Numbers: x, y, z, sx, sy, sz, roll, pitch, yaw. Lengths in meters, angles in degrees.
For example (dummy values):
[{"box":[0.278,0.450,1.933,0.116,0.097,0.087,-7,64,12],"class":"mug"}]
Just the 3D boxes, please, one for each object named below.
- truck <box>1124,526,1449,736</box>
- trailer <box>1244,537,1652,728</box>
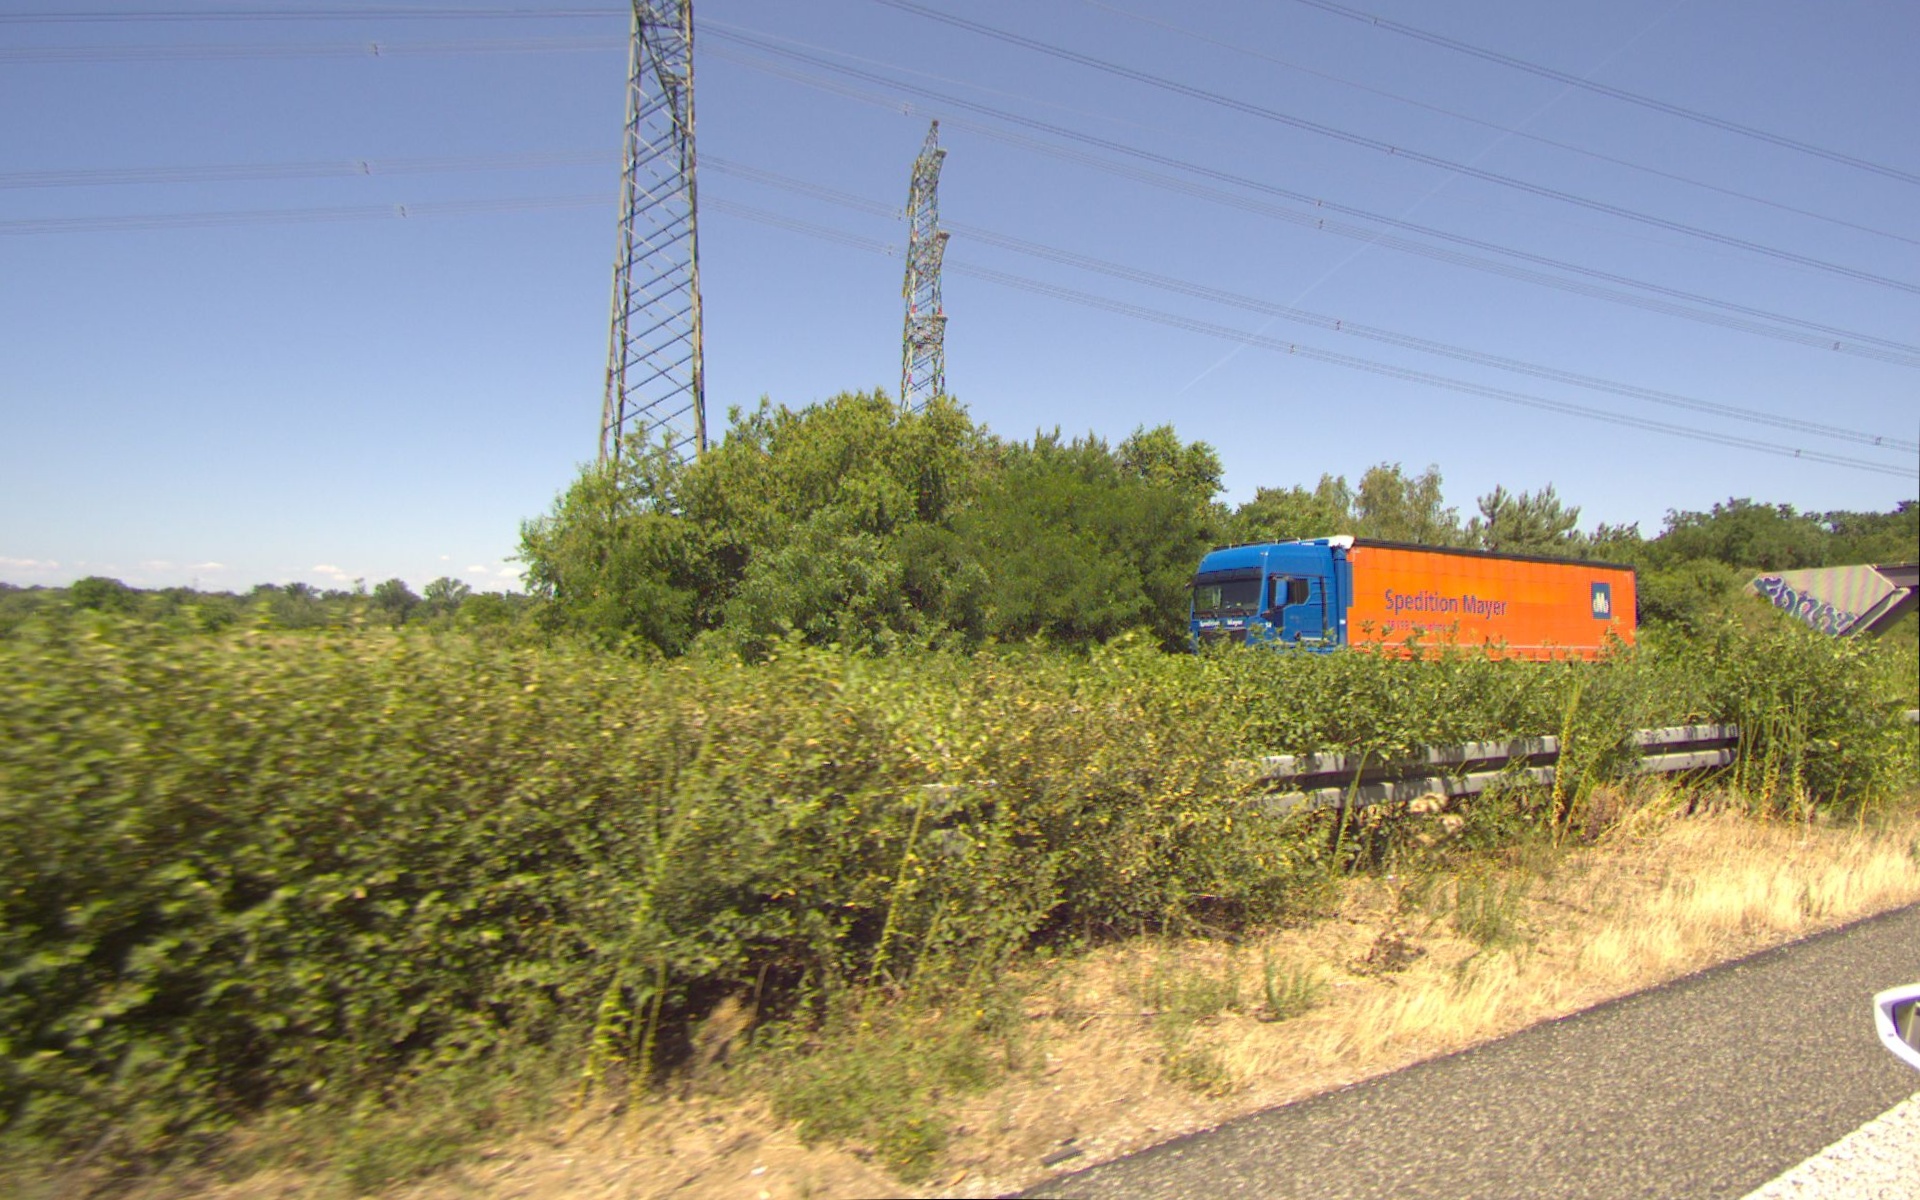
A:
[{"box":[8.162,0.793,24.854,7.880,4.465,3.328,2,-2,-31],"class":"truck"},{"box":[14.295,0.967,28.540,14.002,4.465,3.327,2,-2,-31],"class":"trailer"}]
